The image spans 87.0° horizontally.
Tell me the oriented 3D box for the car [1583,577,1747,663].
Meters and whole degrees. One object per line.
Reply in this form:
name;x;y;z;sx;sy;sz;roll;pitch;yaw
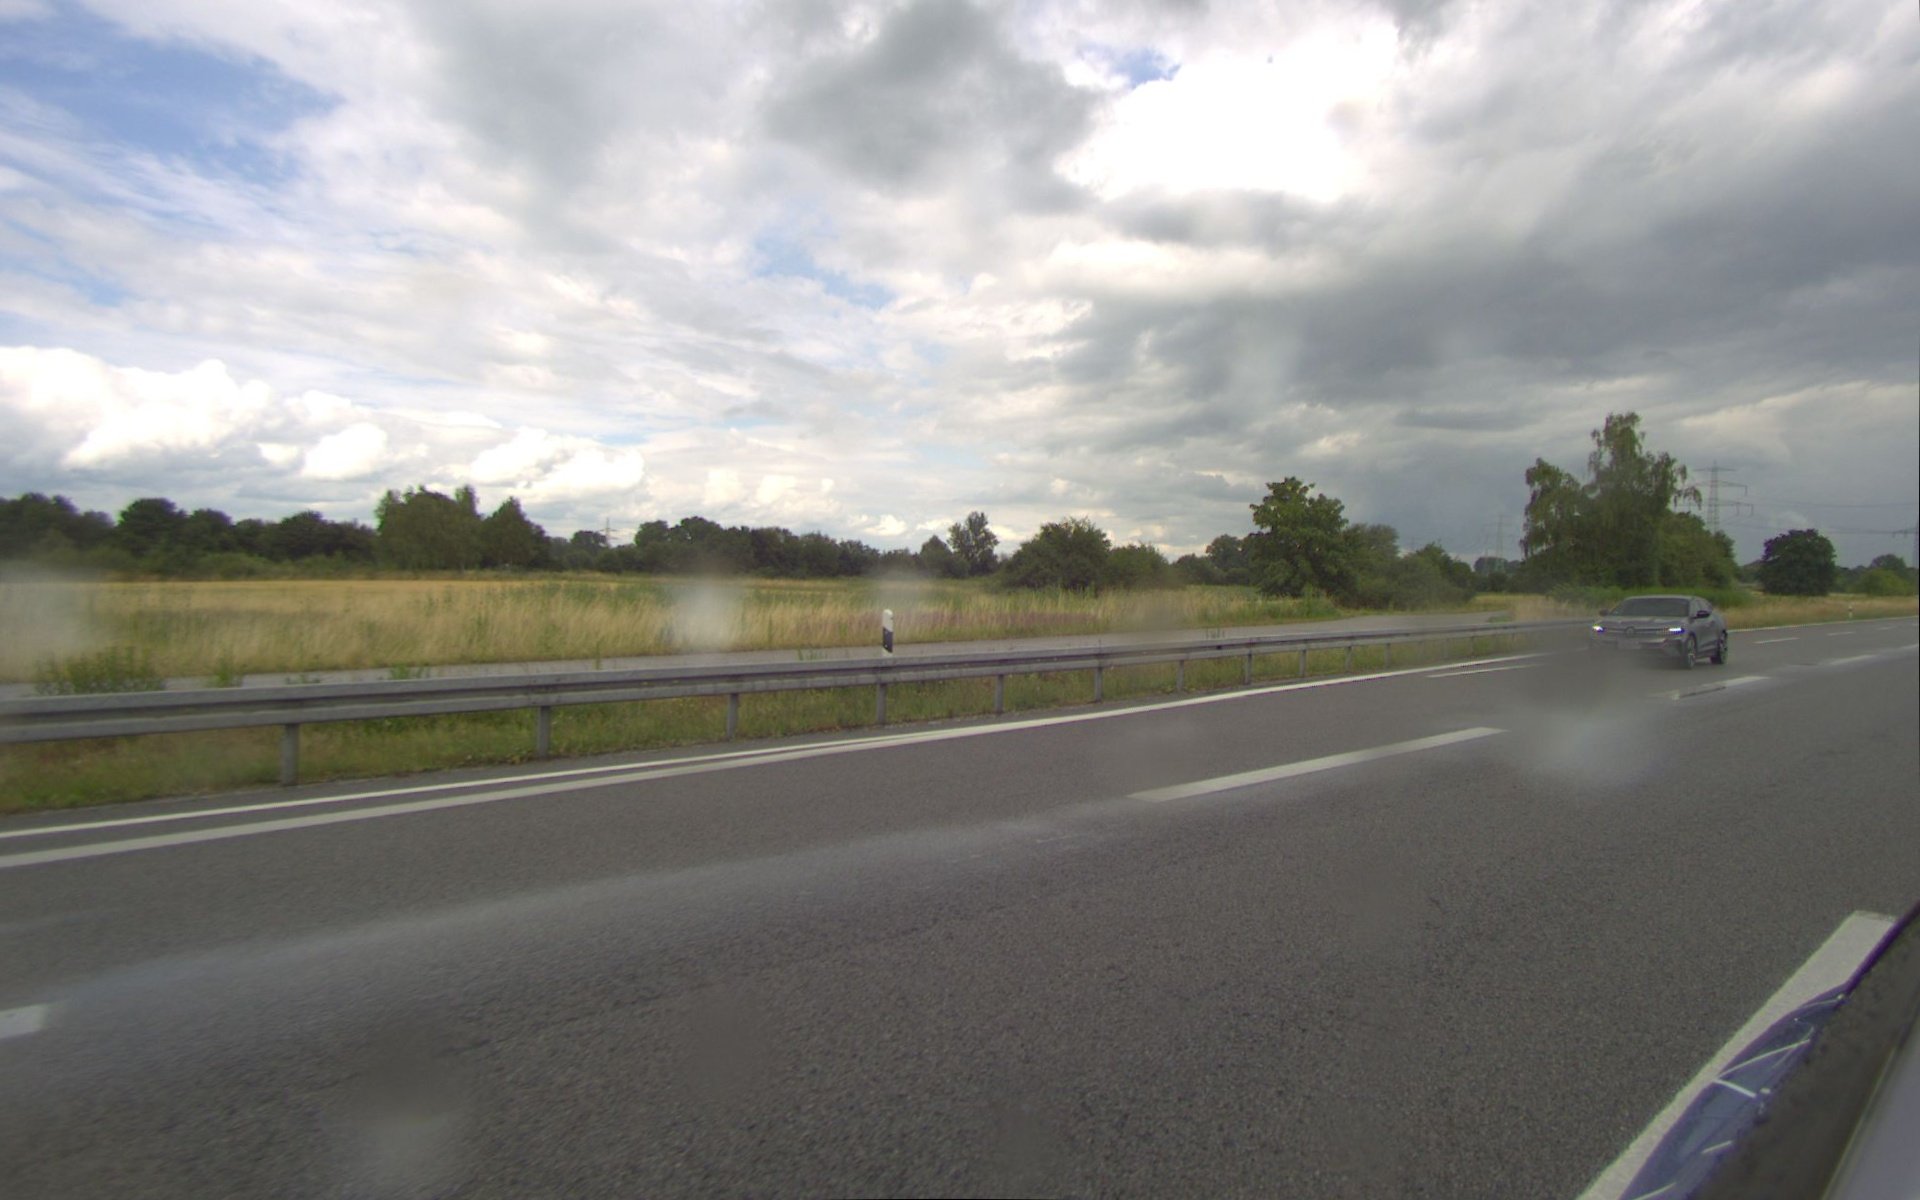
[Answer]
car;15.323;0.365;21.901;4.552;1.662;1.996;0;1;-43
